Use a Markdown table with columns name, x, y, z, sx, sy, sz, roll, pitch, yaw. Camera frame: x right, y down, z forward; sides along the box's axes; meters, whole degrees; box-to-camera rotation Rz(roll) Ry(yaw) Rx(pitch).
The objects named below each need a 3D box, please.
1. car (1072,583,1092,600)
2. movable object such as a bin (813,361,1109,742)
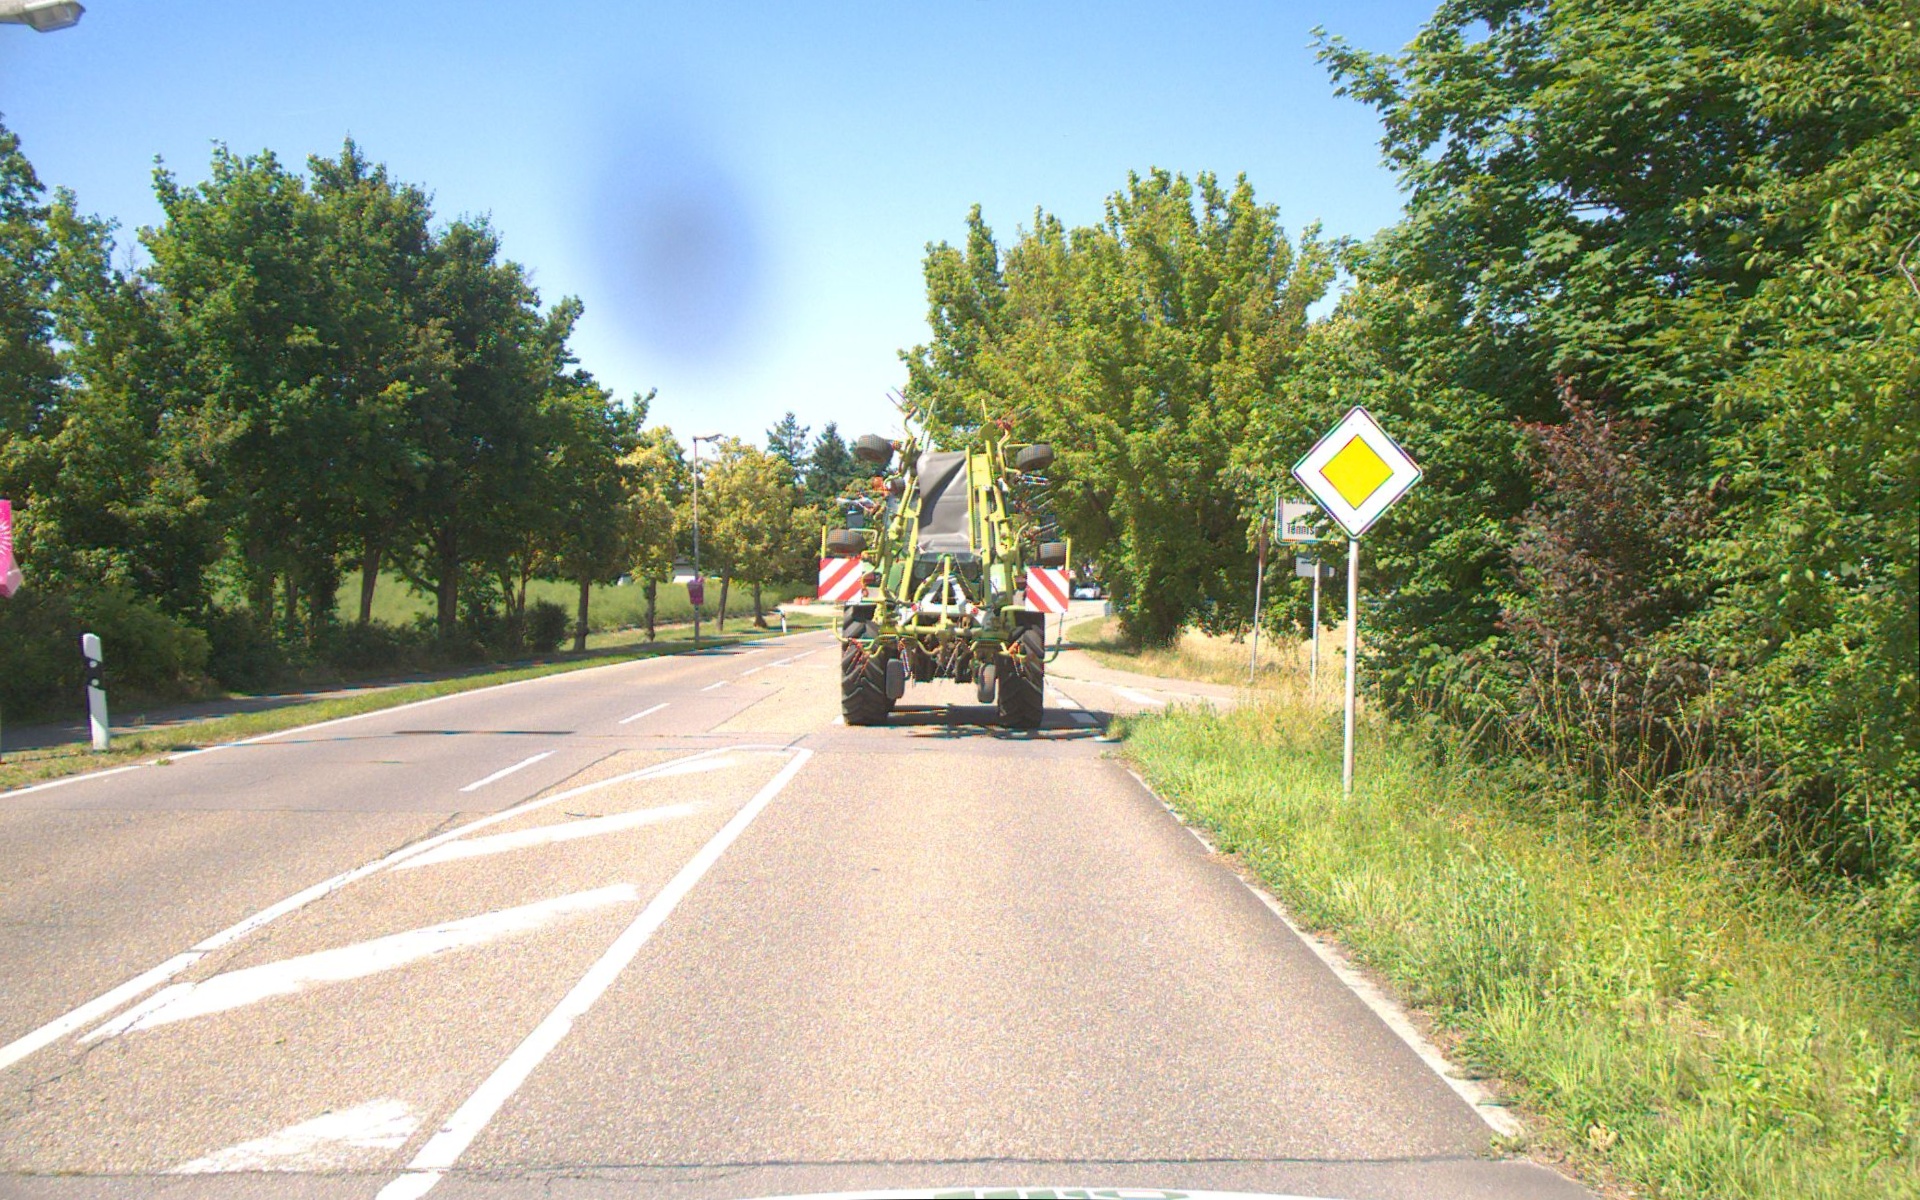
| name | x | y | z | sx | sy | sz | roll | pitch | yaw |
| --- | --- | --- | --- | --- | --- | --- | --- | --- | --- |
| car | 11.589 | -0.844 | 156.970 | 1.614 | 1.458 | 3.900 | 4 | 2 | 6 |
| movable object such as a bin | -0.183 | -0.455 | 20.566 | 2.796 | 3.603 | 9.696 | 0 | 0 | -2 |
